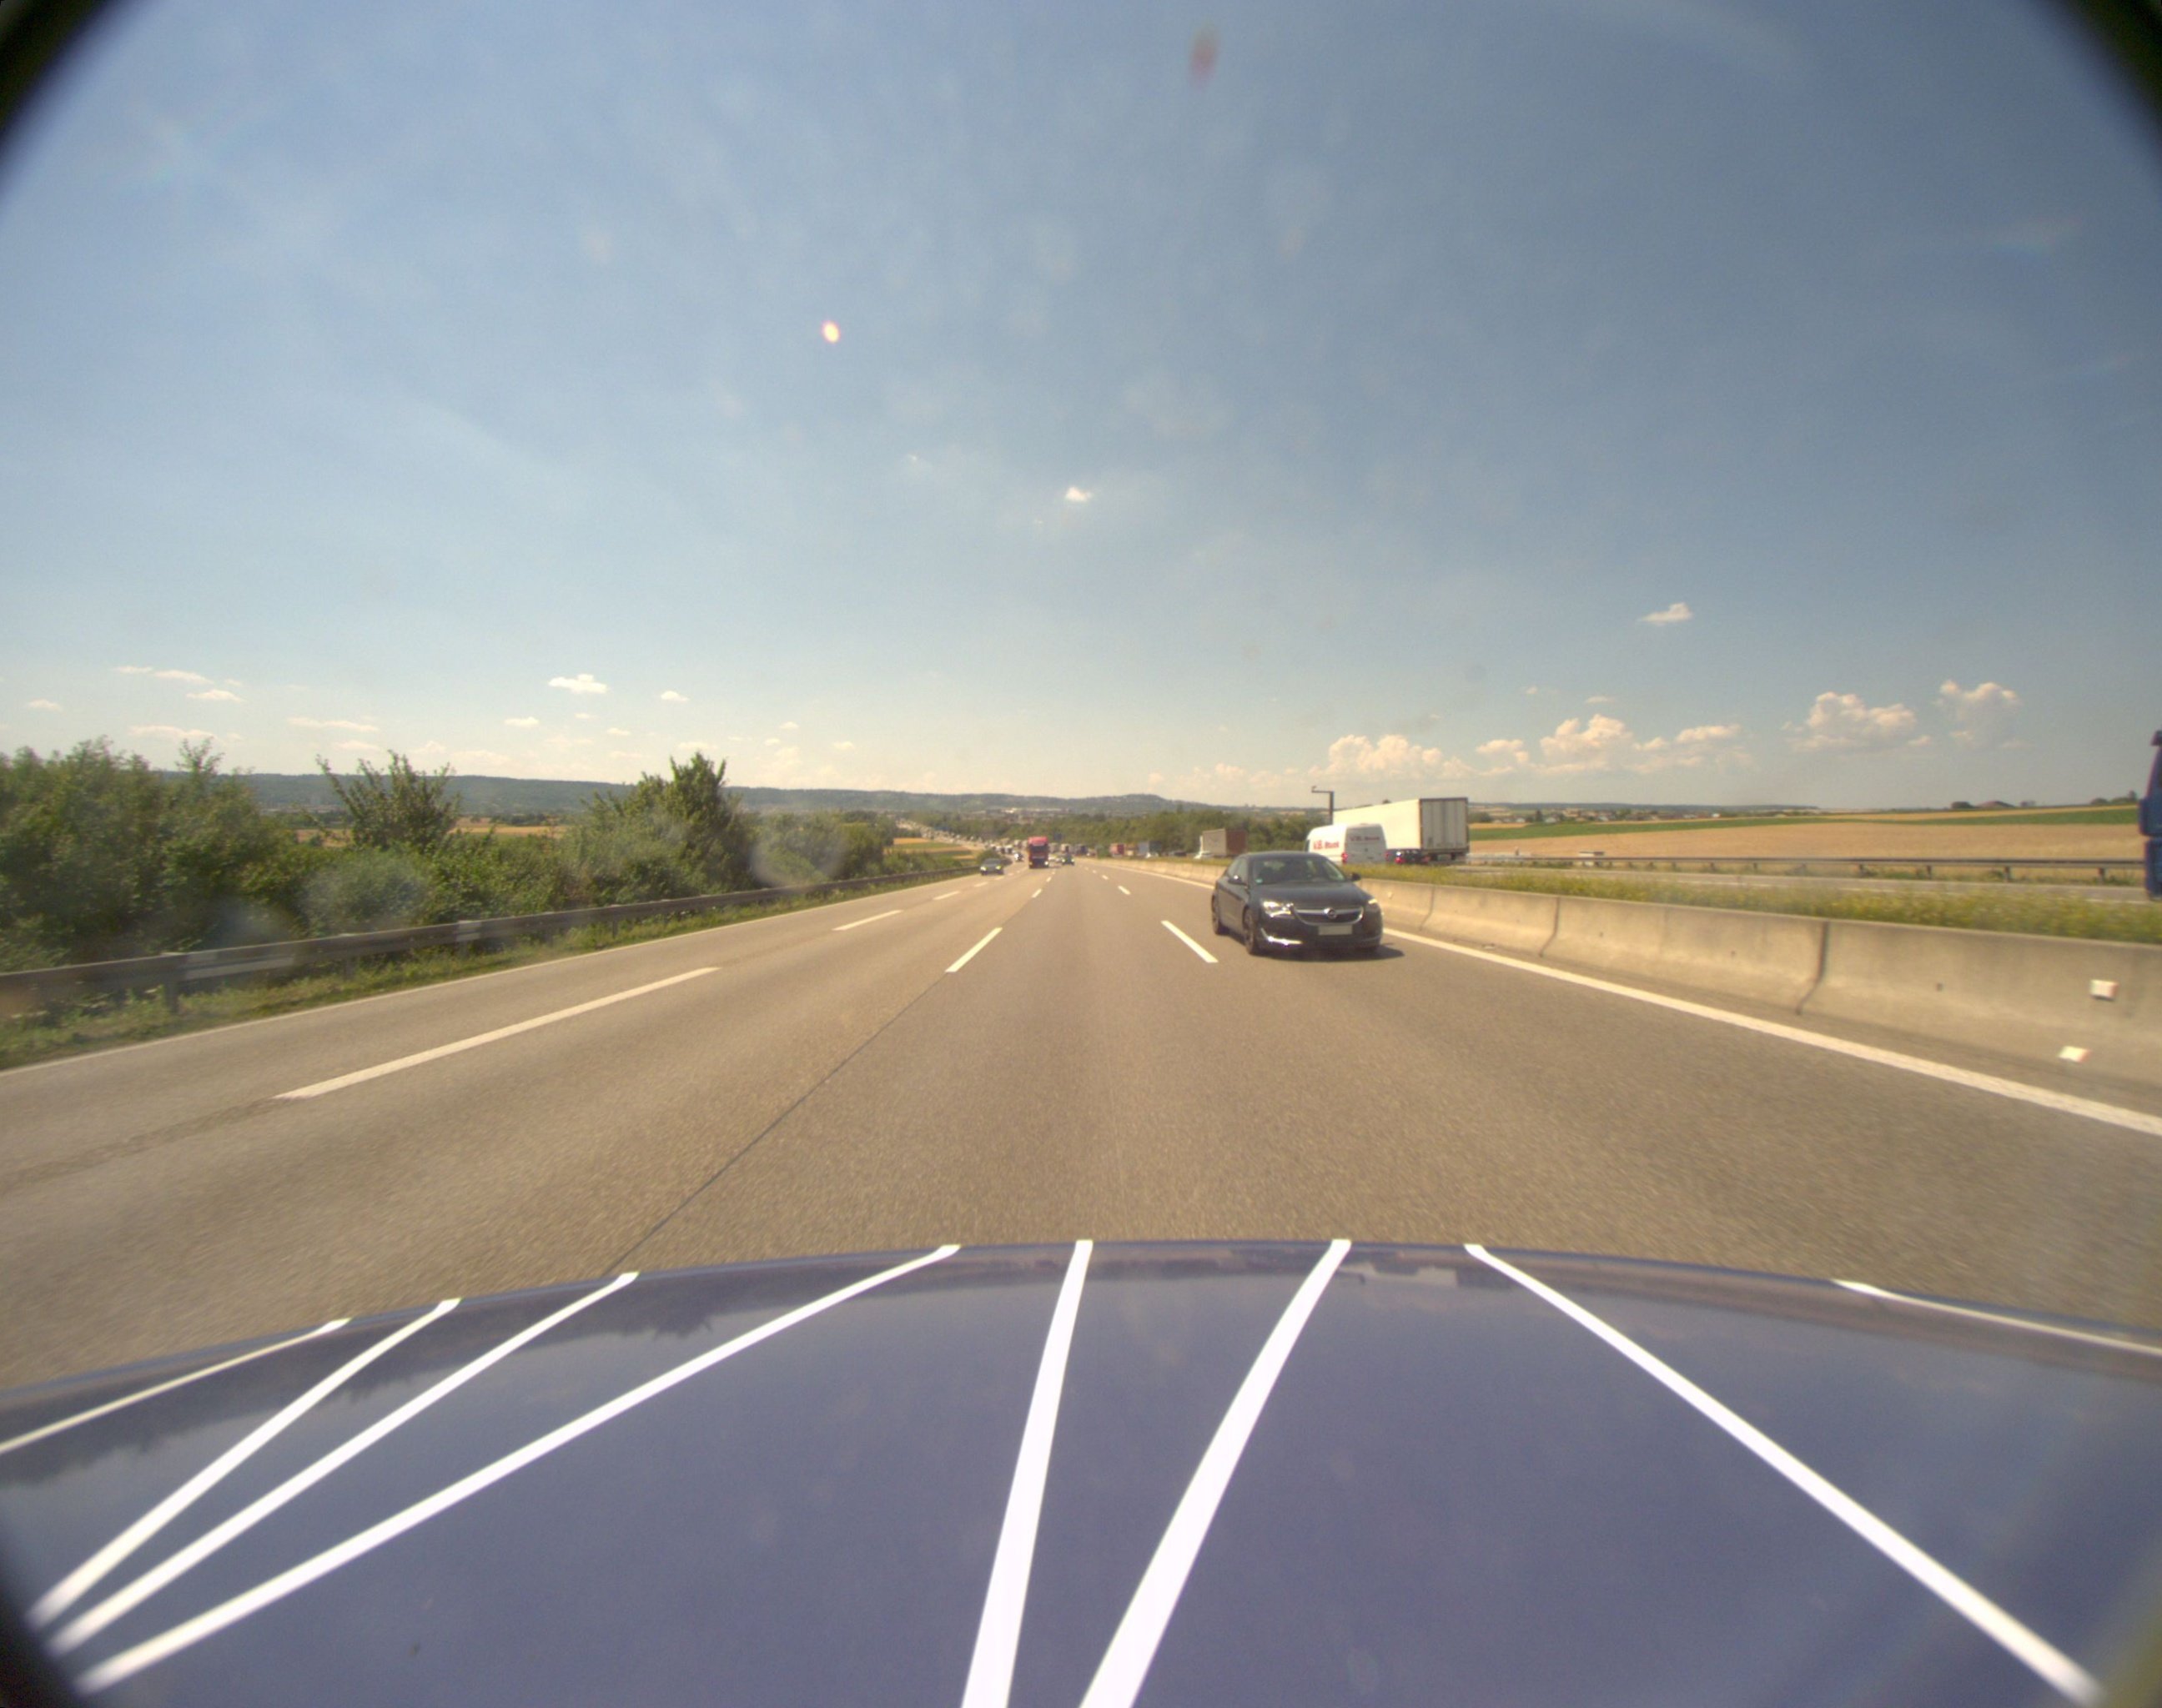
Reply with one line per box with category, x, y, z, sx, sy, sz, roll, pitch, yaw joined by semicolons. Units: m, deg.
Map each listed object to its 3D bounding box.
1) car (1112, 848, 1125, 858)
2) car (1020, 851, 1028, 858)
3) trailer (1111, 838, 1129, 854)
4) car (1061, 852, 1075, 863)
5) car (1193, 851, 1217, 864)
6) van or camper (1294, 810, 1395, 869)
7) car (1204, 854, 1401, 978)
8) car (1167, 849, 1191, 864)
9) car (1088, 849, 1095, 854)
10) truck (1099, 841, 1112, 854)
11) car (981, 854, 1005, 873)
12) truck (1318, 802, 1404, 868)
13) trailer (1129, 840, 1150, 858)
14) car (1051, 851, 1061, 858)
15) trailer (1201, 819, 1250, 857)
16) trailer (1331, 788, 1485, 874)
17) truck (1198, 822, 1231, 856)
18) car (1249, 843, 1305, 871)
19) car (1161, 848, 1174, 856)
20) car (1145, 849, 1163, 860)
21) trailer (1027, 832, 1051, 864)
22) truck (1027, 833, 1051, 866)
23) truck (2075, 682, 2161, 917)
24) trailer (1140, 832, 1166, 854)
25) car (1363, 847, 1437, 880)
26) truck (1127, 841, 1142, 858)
car;7.553;-0.200;154.073;1.999;1.893;5.674;-2;1;-2
car;-14.404;0.010;192.377;1.999;1.467;3.996;-2;3;-4
trailer;10.496;-2.137;206.887;3.095;4.077;14.373;-2;1;-4
car;-2.025;0.475;116.646;1.866;1.426;3.996;-2;3;-5
car;14.495;0.373;88.906;1.871;1.448;4.571;-2;1;-1
van or camper;11.923;-0.638;35.105;2.073;2.449;7.518;-1;1;0
car;3.251;0.799;12.210;1.807;1.534;4.749;-2;0;1
car;11.029;0.259;85.847;1.999;1.657;4.963;-2;0;-1
car;3.330;-0.718;241.867;1.919;1.532;5.739;-2;1;-5
truck;7.822;-2.138;242.734;2.910;3.854;6.173;-3;1;-6
car;-7.832;0.817;67.503;2.038;1.543;3.997;-2;0;-7
truck;19.332;-1.243;52.994;3.235;4.182;7.125;-2;0;0
trailer;13.618;-1.201;178.947;2.961;4.077;14.375;-2;0;-3
car;-5.964;0.052;182.956;2.000;1.467;3.995;-3;3;-7
trailer;18.043;-1.918;96.142;3.132;4.299;14.541;-2;1;0
trailer;19.403;-1.235;46.751;3.250;4.362;14.025;-2;0;0
truck;17.955;-1.990;102.878;3.140;4.303;6.145;-2;1;-1
car;12.140;0.170;47.486;1.931;1.578;5.667;-2;1;-1
car;16.108;-0.328;141.772;1.662;1.377;4.348;-2;0;-3
car;10.269;0.065;106.656;1.884;1.562;4.588;-2;0;-1
trailer;-5.843;-0.942;105.603;2.926;4.094;13.850;-3;2;-3
truck;-5.495;-0.660;99.220;2.924;3.986;6.507;-3;2;-3
truck;19.424;-0.935;10.702;2.783;3.915;6.137;-2;0;0
trailer;14.748;-2.243;157.673;3.170;4.170;14.374;-3;1;-3
car;15.736;0.438;37.726;1.823;1.471;4.502;-2;1;1
truck;13.077;-1.122;186.115;2.758;3.815;7.095;-2;1;-3
